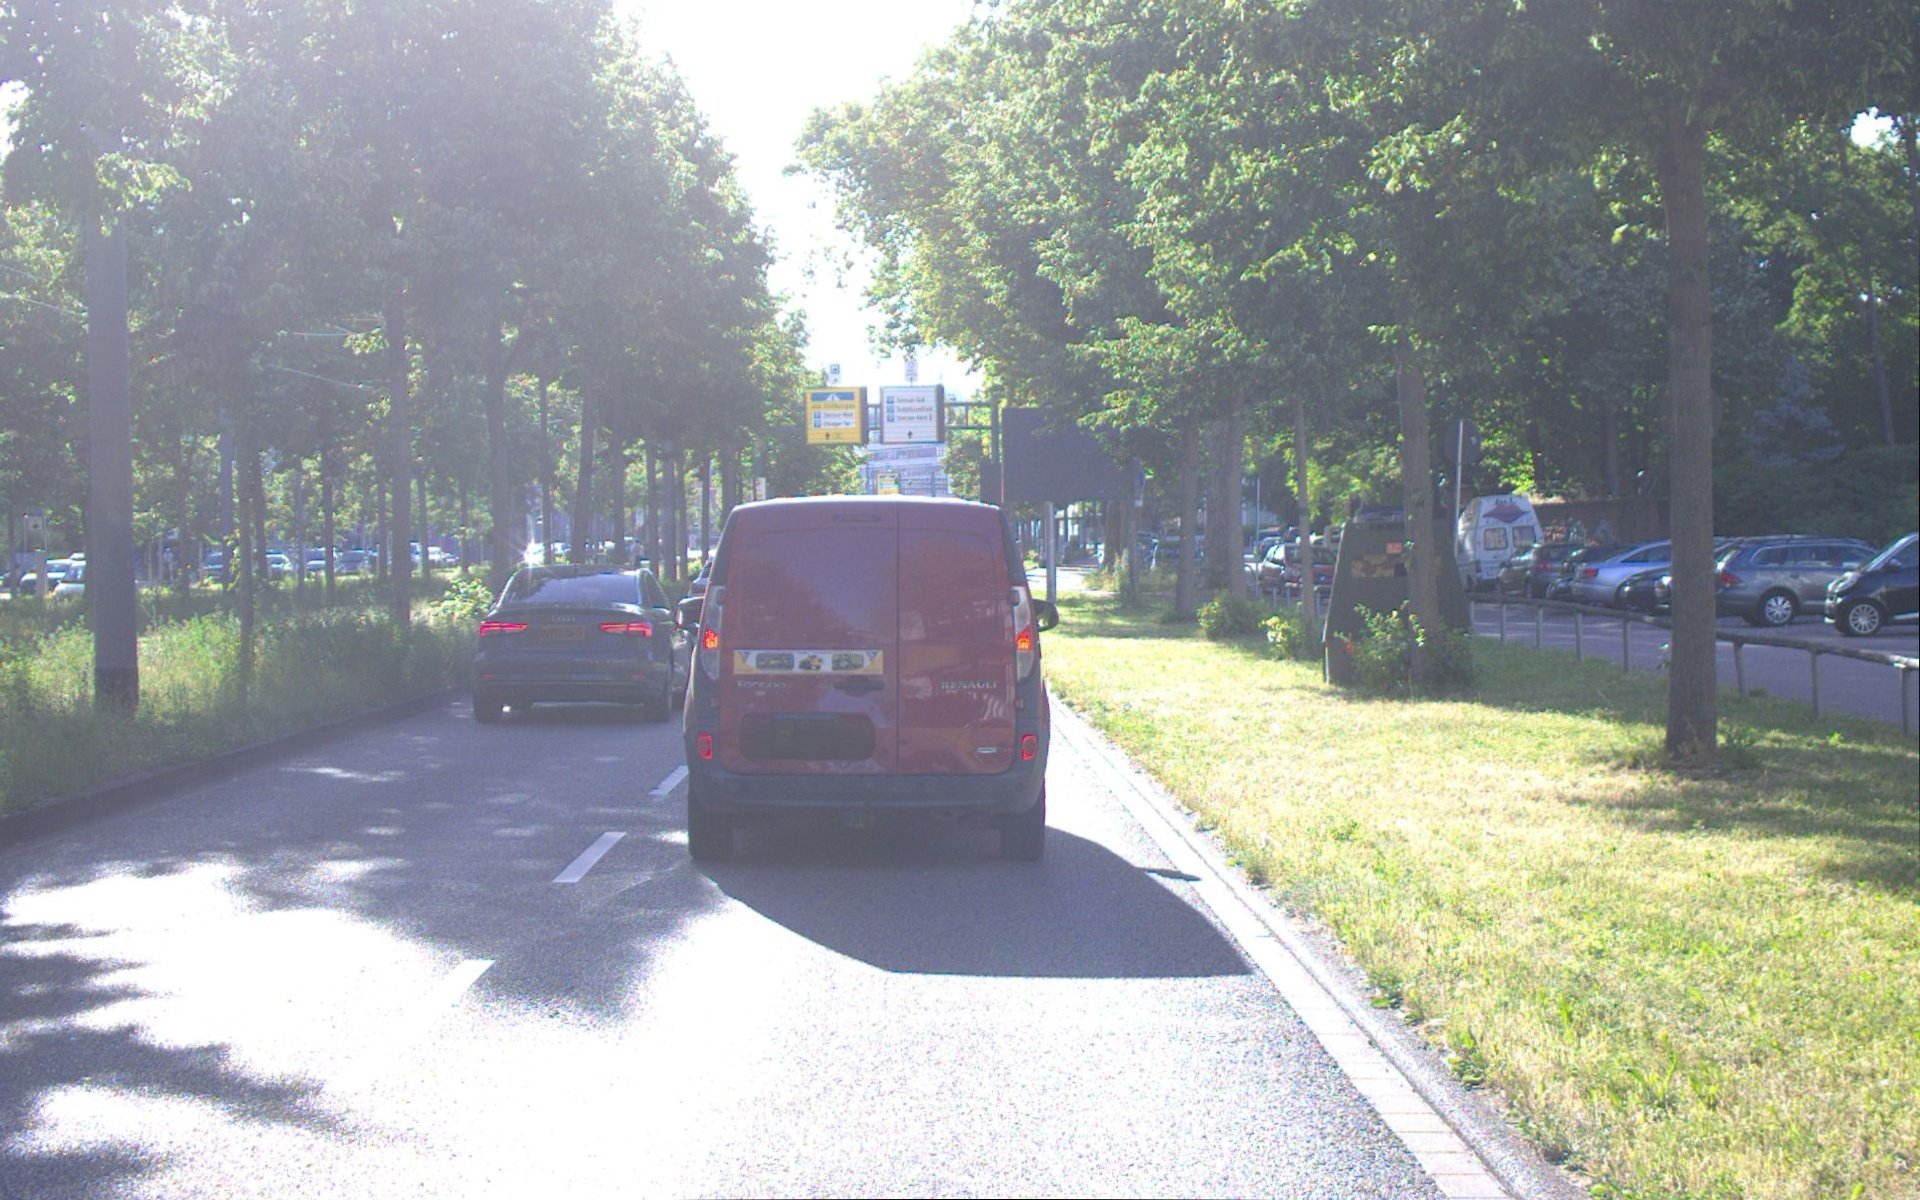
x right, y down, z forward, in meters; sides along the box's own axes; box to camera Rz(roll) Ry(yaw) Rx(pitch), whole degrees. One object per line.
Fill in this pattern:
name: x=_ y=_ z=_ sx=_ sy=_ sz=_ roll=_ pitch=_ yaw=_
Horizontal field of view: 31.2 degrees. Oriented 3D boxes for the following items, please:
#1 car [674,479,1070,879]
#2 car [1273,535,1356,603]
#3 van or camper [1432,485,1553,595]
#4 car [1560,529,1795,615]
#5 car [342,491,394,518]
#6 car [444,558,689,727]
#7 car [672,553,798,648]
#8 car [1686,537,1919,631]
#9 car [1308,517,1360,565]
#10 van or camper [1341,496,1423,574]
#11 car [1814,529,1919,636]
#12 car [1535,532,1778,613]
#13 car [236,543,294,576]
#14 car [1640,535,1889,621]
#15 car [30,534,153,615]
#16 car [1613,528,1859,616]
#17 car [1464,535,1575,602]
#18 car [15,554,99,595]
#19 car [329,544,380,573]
car: x=-0.521 y=0.346 z=17.960 sx=1.808 sy=1.831 sz=4.001 roll=1 pitch=1 yaw=-3
car: x=8.852 y=-0.777 z=85.839 sx=1.994 sy=1.634 sz=3.999 roll=1 pitch=1 yaw=6
van or camper: x=13.963 y=-1.564 z=90.389 sx=1.993 sy=2.722 sz=4.965 roll=-3 pitch=1 yaw=-3
car: x=14.746 y=-0.589 z=70.828 sx=4.381 sy=1.406 sz=2.000 roll=-5 pitch=1 yaw=2
car: x=-31.181 y=-5.015 z=181.229 sx=1.912 sy=1.321 sz=4.611 roll=1 pitch=1 yaw=1
car: x=-3.546 y=0.344 z=31.593 sx=1.792 sy=1.423 sz=4.000 roll=1 pitch=1 yaw=0
car: x=-4.009 y=-0.010 z=61.844 sx=1.993 sy=1.612 sz=4.000 roll=1 pitch=1 yaw=0
car: x=14.764 y=-0.282 z=59.296 sx=4.080 sy=1.463 sz=1.715 roll=-2 pitch=0 yaw=1
car: x=16.058 y=-2.541 z=147.760 sx=2.087 sy=2.007 sz=4.942 roll=0 pitch=1 yaw=4
van or camper: x=15.392 y=-2.401 z=125.752 sx=2.557 sy=2.675 sz=6.564 roll=-3 pitch=1 yaw=4
car: x=14.352 y=-0.283 z=51.705 sx=2.767 sy=1.544 sz=1.461 roll=-2 pitch=0 yaw=9
car: x=14.910 y=-0.596 z=73.742 sx=4.719 sy=1.401 sz=2.000 roll=-4 pitch=1 yaw=0
car: x=-34.581 y=-2.019 z=171.082 sx=1.879 sy=1.615 sz=4.611 roll=1 pitch=1 yaw=1
car: x=15.120 y=-0.421 z=64.743 sx=4.190 sy=1.493 sz=1.782 roll=-1 pitch=1 yaw=-3
car: x=-22.347 y=-0.660 z=88.597 sx=1.994 sy=2.007 sz=4.000 roll=1 pitch=1 yaw=2
car: x=15.299 y=-0.569 z=67.902 sx=4.327 sy=1.473 sz=1.907 roll=-3 pitch=2 yaw=-4
car: x=13.730 y=-0.775 z=84.517 sx=1.993 sy=1.568 sz=4.000 roll=1 pitch=1 yaw=-1
car: x=-33.052 y=-0.932 z=125.910 sx=1.958 sy=1.436 sz=4.265 roll=1 pitch=1 yaw=0
car: x=-34.029 y=-2.320 z=193.222 sx=1.993 sy=1.603 sz=4.611 roll=1 pitch=1 yaw=1
